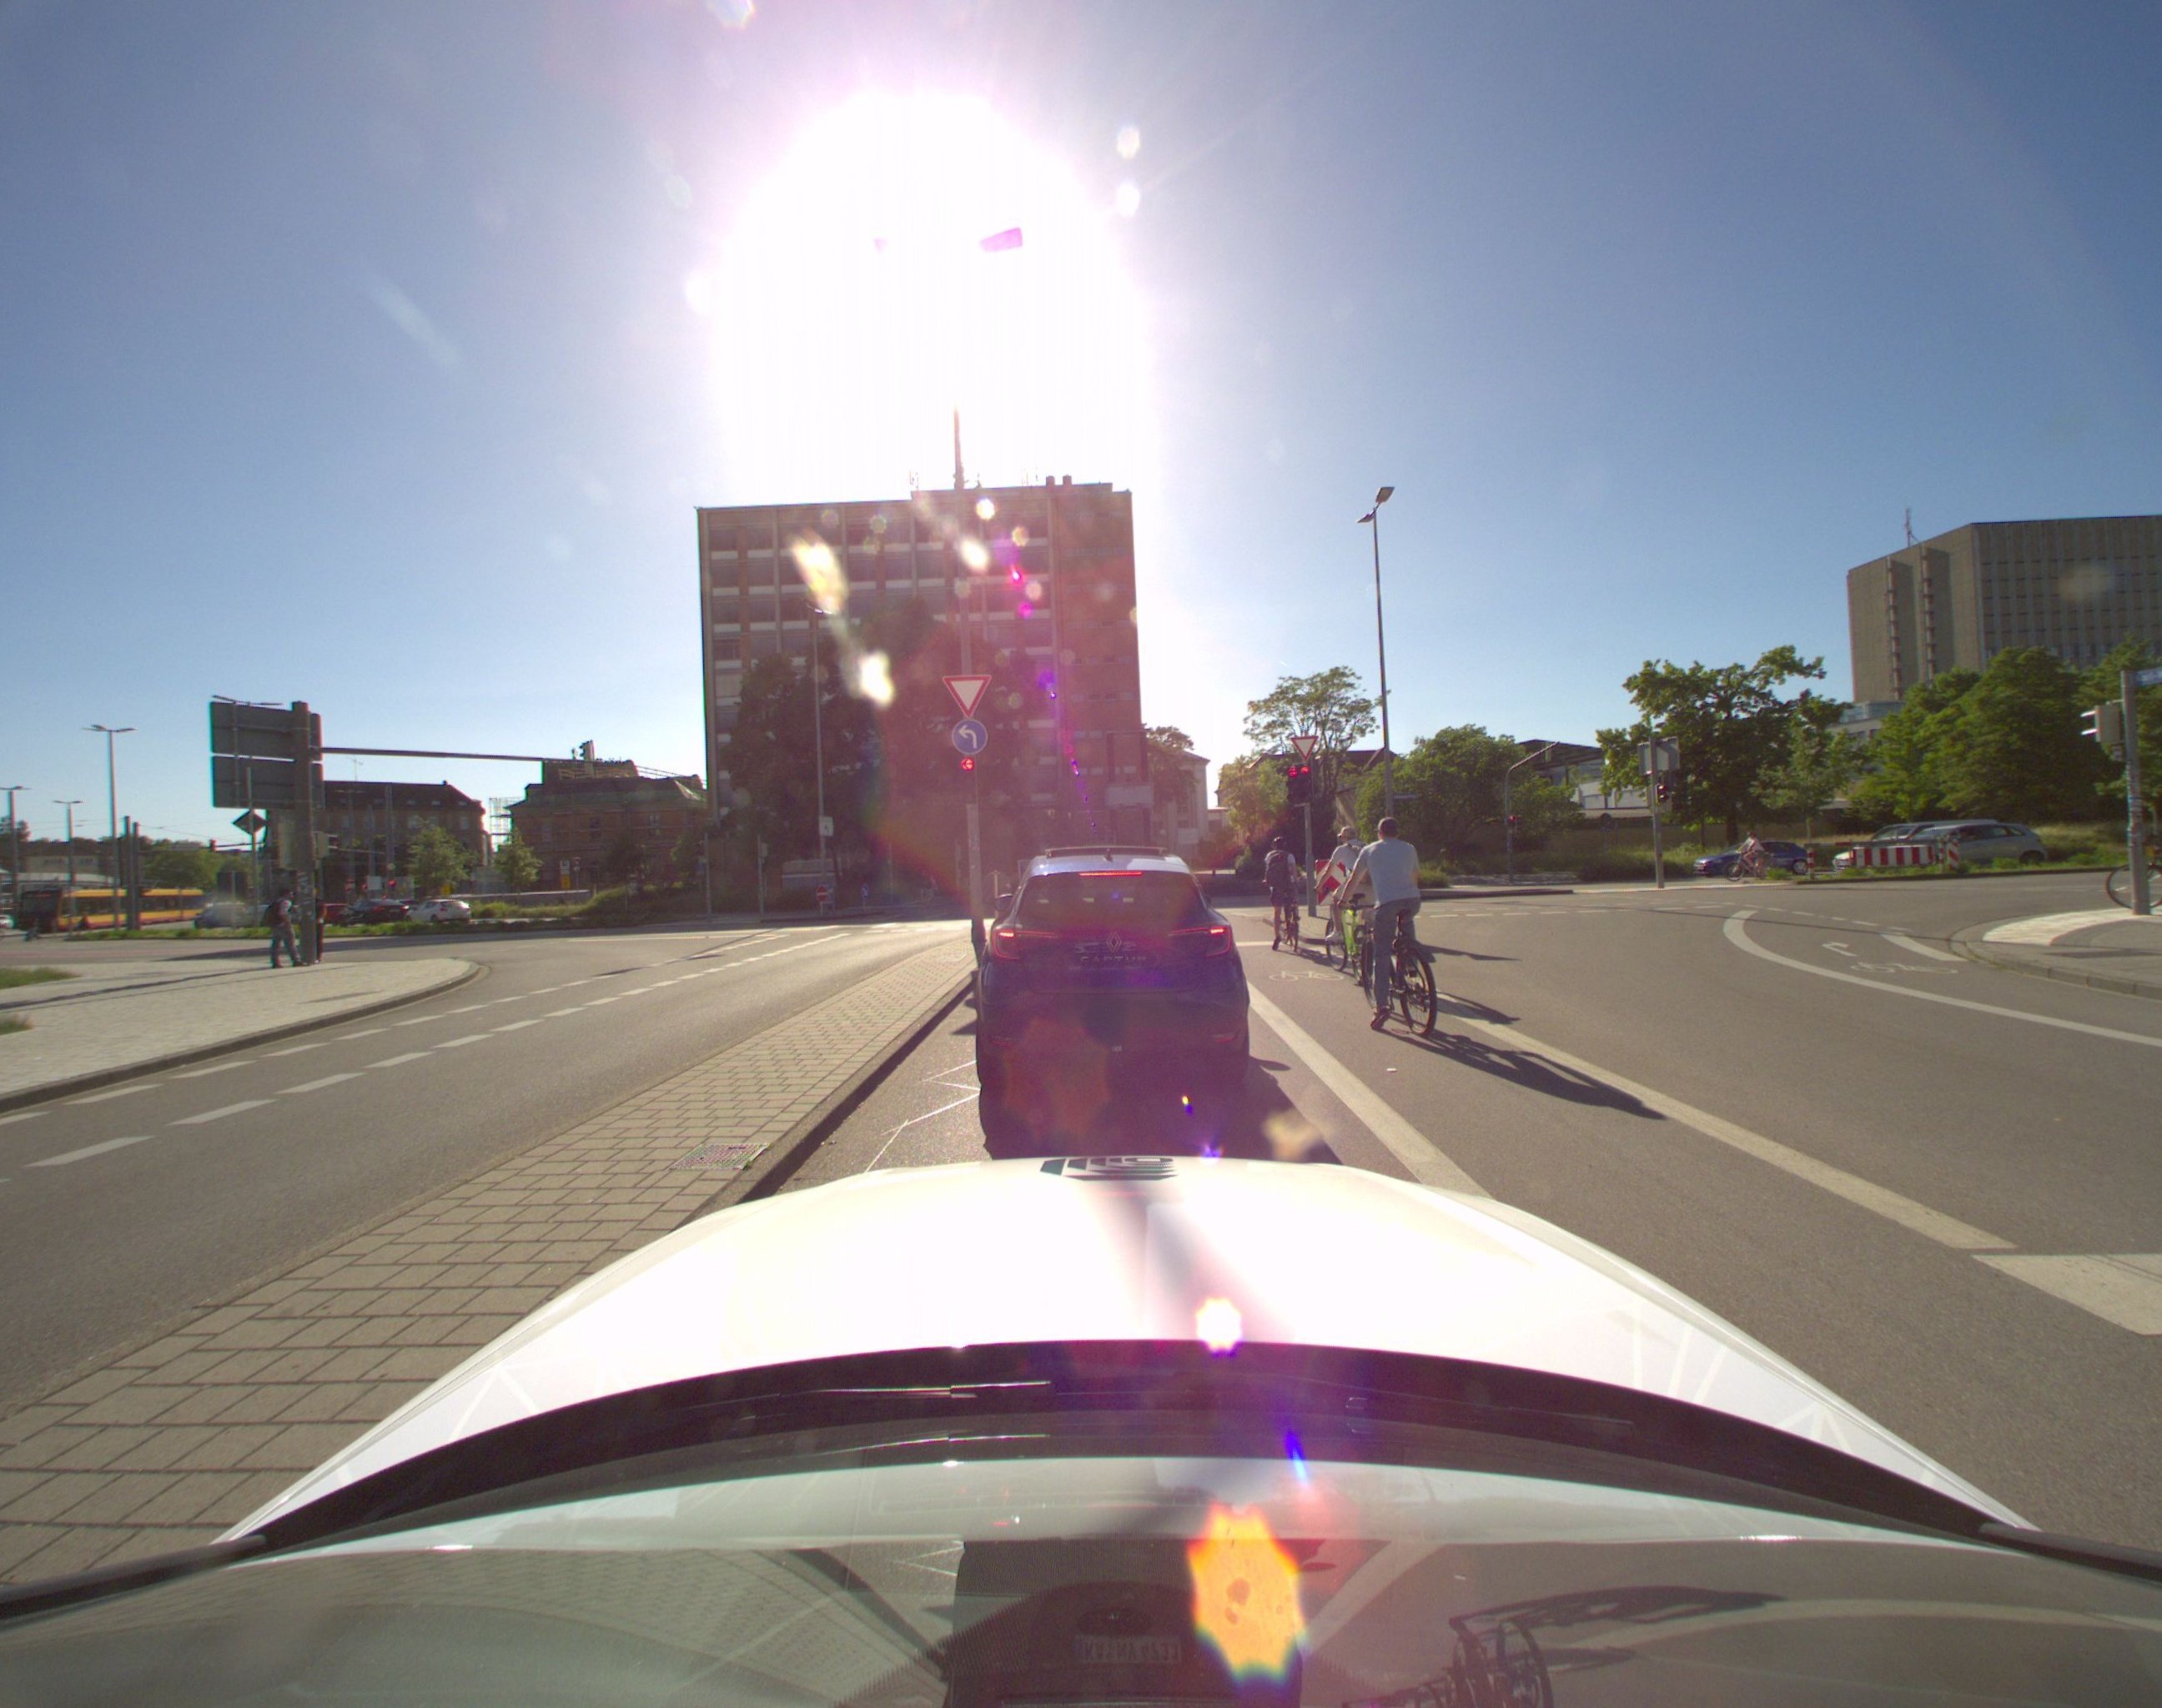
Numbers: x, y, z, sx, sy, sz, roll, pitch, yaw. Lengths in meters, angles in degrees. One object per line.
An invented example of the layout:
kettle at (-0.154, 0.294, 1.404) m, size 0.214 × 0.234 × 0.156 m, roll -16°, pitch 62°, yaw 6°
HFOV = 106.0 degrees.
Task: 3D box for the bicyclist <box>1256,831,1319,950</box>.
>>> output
bicyclist at (3.263, 0.559, 12.961) m, size 0.697 × 1.791 × 1.142 m, roll -1°, pitch -1°, yaw 2°

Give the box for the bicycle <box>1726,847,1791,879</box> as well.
bicycle at (24.144, 0.320, 29.037) m, size 1.673 × 1.033 × 0.612 m, roll -3°, pitch -1°, yaw 7°

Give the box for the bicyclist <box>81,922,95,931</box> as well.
bicyclist at (-65.028, 4.735, 53.323) m, size 0.425 × 0.549 × 0.575 m, roll -3°, pitch -1°, yaw 42°

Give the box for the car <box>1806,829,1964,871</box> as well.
car at (30.301, -0.138, 30.794) m, size 3.965 × 1.398 × 1.798 m, roll -3°, pitch -1°, yaw 7°

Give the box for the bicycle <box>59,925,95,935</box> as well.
bicycle at (-65.314, 4.933, 52.988) m, size 0.429 × 0.549 × 1.419 m, roll -3°, pitch -1°, yaw 42°

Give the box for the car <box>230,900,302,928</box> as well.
car at (-48.859, 3.606, 48.808) m, size 3.834 × 1.508 × 1.805 m, roll -3°, pitch -1°, yaw 25°

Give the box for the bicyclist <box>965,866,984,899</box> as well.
bicyclist at (-5.759, 1.539, 44.074) m, size 0.751 × 1.716 × 1.001 m, roll -2°, pitch -1°, yaw 7°

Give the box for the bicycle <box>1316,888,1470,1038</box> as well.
bicycle at (2.719, 0.898, 7.344) m, size 0.687 × 1.089 × 1.923 m, roll -1°, pitch 0°, yaw 2°

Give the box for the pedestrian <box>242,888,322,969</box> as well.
pedestrian at (-18.104, 1.668, 18.472) m, size 0.647 × 1.730 × 1.066 m, roll -3°, pitch -1°, yaw 15°

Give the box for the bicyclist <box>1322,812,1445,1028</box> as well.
bicyclist at (2.708, 0.556, 7.399) m, size 0.680 × 1.791 × 1.142 m, roll -1°, pitch -1°, yaw 2°

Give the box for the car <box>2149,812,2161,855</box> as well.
car at (36.905, -0.765, 25.332) m, size 4.534 × 1.398 × 1.798 m, roll -3°, pitch -1°, yaw 7°

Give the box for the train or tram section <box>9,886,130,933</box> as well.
train or tram section at (-81.471, 4.328, 65.903) m, size 2.710 × 3.232 × 10.495 m, roll 0°, pitch -1°, yaw -31°

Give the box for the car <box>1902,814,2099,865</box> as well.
car at (29.225, -0.436, 26.003) m, size 3.965 × 1.398 × 1.798 m, roll -3°, pitch -1°, yaw 7°

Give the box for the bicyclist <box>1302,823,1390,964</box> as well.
bicyclist at (3.178, 0.453, 9.863) m, size 0.676 × 1.594 × 1.142 m, roll -1°, pitch -1°, yaw 1°

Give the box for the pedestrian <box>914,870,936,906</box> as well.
pedestrian at (-8.417, 1.835, 43.942) m, size 0.807 × 1.862 × 0.913 m, roll -3°, pitch -1°, yaw 15°

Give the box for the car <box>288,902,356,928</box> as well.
car at (-48.202, 3.872, 51.712) m, size 3.834 × 1.508 × 1.805 m, roll -3°, pitch -1°, yaw 25°

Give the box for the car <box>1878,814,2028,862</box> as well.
car at (35.875, -0.620, 33.608) m, size 3.965 × 1.749 × 1.798 m, roll -3°, pitch -1°, yaw 7°

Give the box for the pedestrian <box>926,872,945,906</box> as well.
pedestrian at (-7.743, 1.869, 43.339) m, size 0.675 × 1.730 × 0.764 m, roll -3°, pitch -1°, yaw 15°

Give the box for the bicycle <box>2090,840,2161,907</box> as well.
bicycle at (15.918, 0.266, 11.628) m, size 0.640 × 0.958 × 1.866 m, roll -2°, pitch -1°, yaw -39°

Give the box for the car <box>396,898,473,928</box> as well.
car at (-36.390, 3.338, 45.838) m, size 3.834 × 1.508 × 1.805 m, roll -3°, pitch -1°, yaw 25°

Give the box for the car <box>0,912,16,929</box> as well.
car at (-112.093, 6.874, 84.129) m, size 1.753 × 1.651 × 3.952 m, roll -2°, pitch -1°, yaw -42°

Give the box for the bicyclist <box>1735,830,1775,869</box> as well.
bicyclist at (24.040, -0.161, 29.052) m, size 0.870 × 1.343 × 0.612 m, roll -2°, pitch -1°, yaw 7°

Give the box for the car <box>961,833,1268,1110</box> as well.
car at (0.201, 0.704, 6.768) m, size 1.783 × 1.585 × 3.913 m, roll -1°, pitch 0°, yaw 0°

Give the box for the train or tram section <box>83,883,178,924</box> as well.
train or tram section at (-87.025, 4.417, 74.821) m, size 2.711 × 3.232 × 10.492 m, roll 0°, pitch -1°, yaw -32°

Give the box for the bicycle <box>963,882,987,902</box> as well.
bicycle at (-5.722, 2.043, 44.173) m, size 0.751 × 0.985 × 2.098 m, roll -2°, pitch 0°, yaw 8°

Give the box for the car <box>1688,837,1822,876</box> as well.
car at (28.139, 0.104, 34.108) m, size 3.965 × 1.398 × 1.798 m, roll -3°, pitch -1°, yaw 7°

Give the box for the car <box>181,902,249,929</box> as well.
car at (-54.908, 3.894, 51.641) m, size 3.834 × 1.508 × 1.805 m, roll -3°, pitch -1°, yaw 25°

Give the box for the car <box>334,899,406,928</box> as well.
car at (-42.546, 3.565, 48.743) m, size 3.834 × 1.508 × 1.805 m, roll -3°, pitch -1°, yaw 25°

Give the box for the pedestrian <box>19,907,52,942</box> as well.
pedestrian at (-63.744, 4.301, 49.664) m, size 0.716 × 2.013 × 1.048 m, roll -3°, pitch -1°, yaw 23°

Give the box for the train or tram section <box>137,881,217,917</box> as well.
train or tram section at (-92.645, 4.530, 83.692) m, size 2.711 × 3.232 × 10.492 m, roll 0°, pitch -1°, yaw -32°

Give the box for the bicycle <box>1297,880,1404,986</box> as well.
bicycle at (3.195, 0.889, 9.842) m, size 0.687 × 1.089 × 1.923 m, roll -1°, pitch 0°, yaw 2°

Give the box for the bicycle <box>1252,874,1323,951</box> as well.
bicycle at (3.255, 0.888, 12.993) m, size 0.687 × 1.089 × 1.923 m, roll -1°, pitch 0°, yaw 2°
